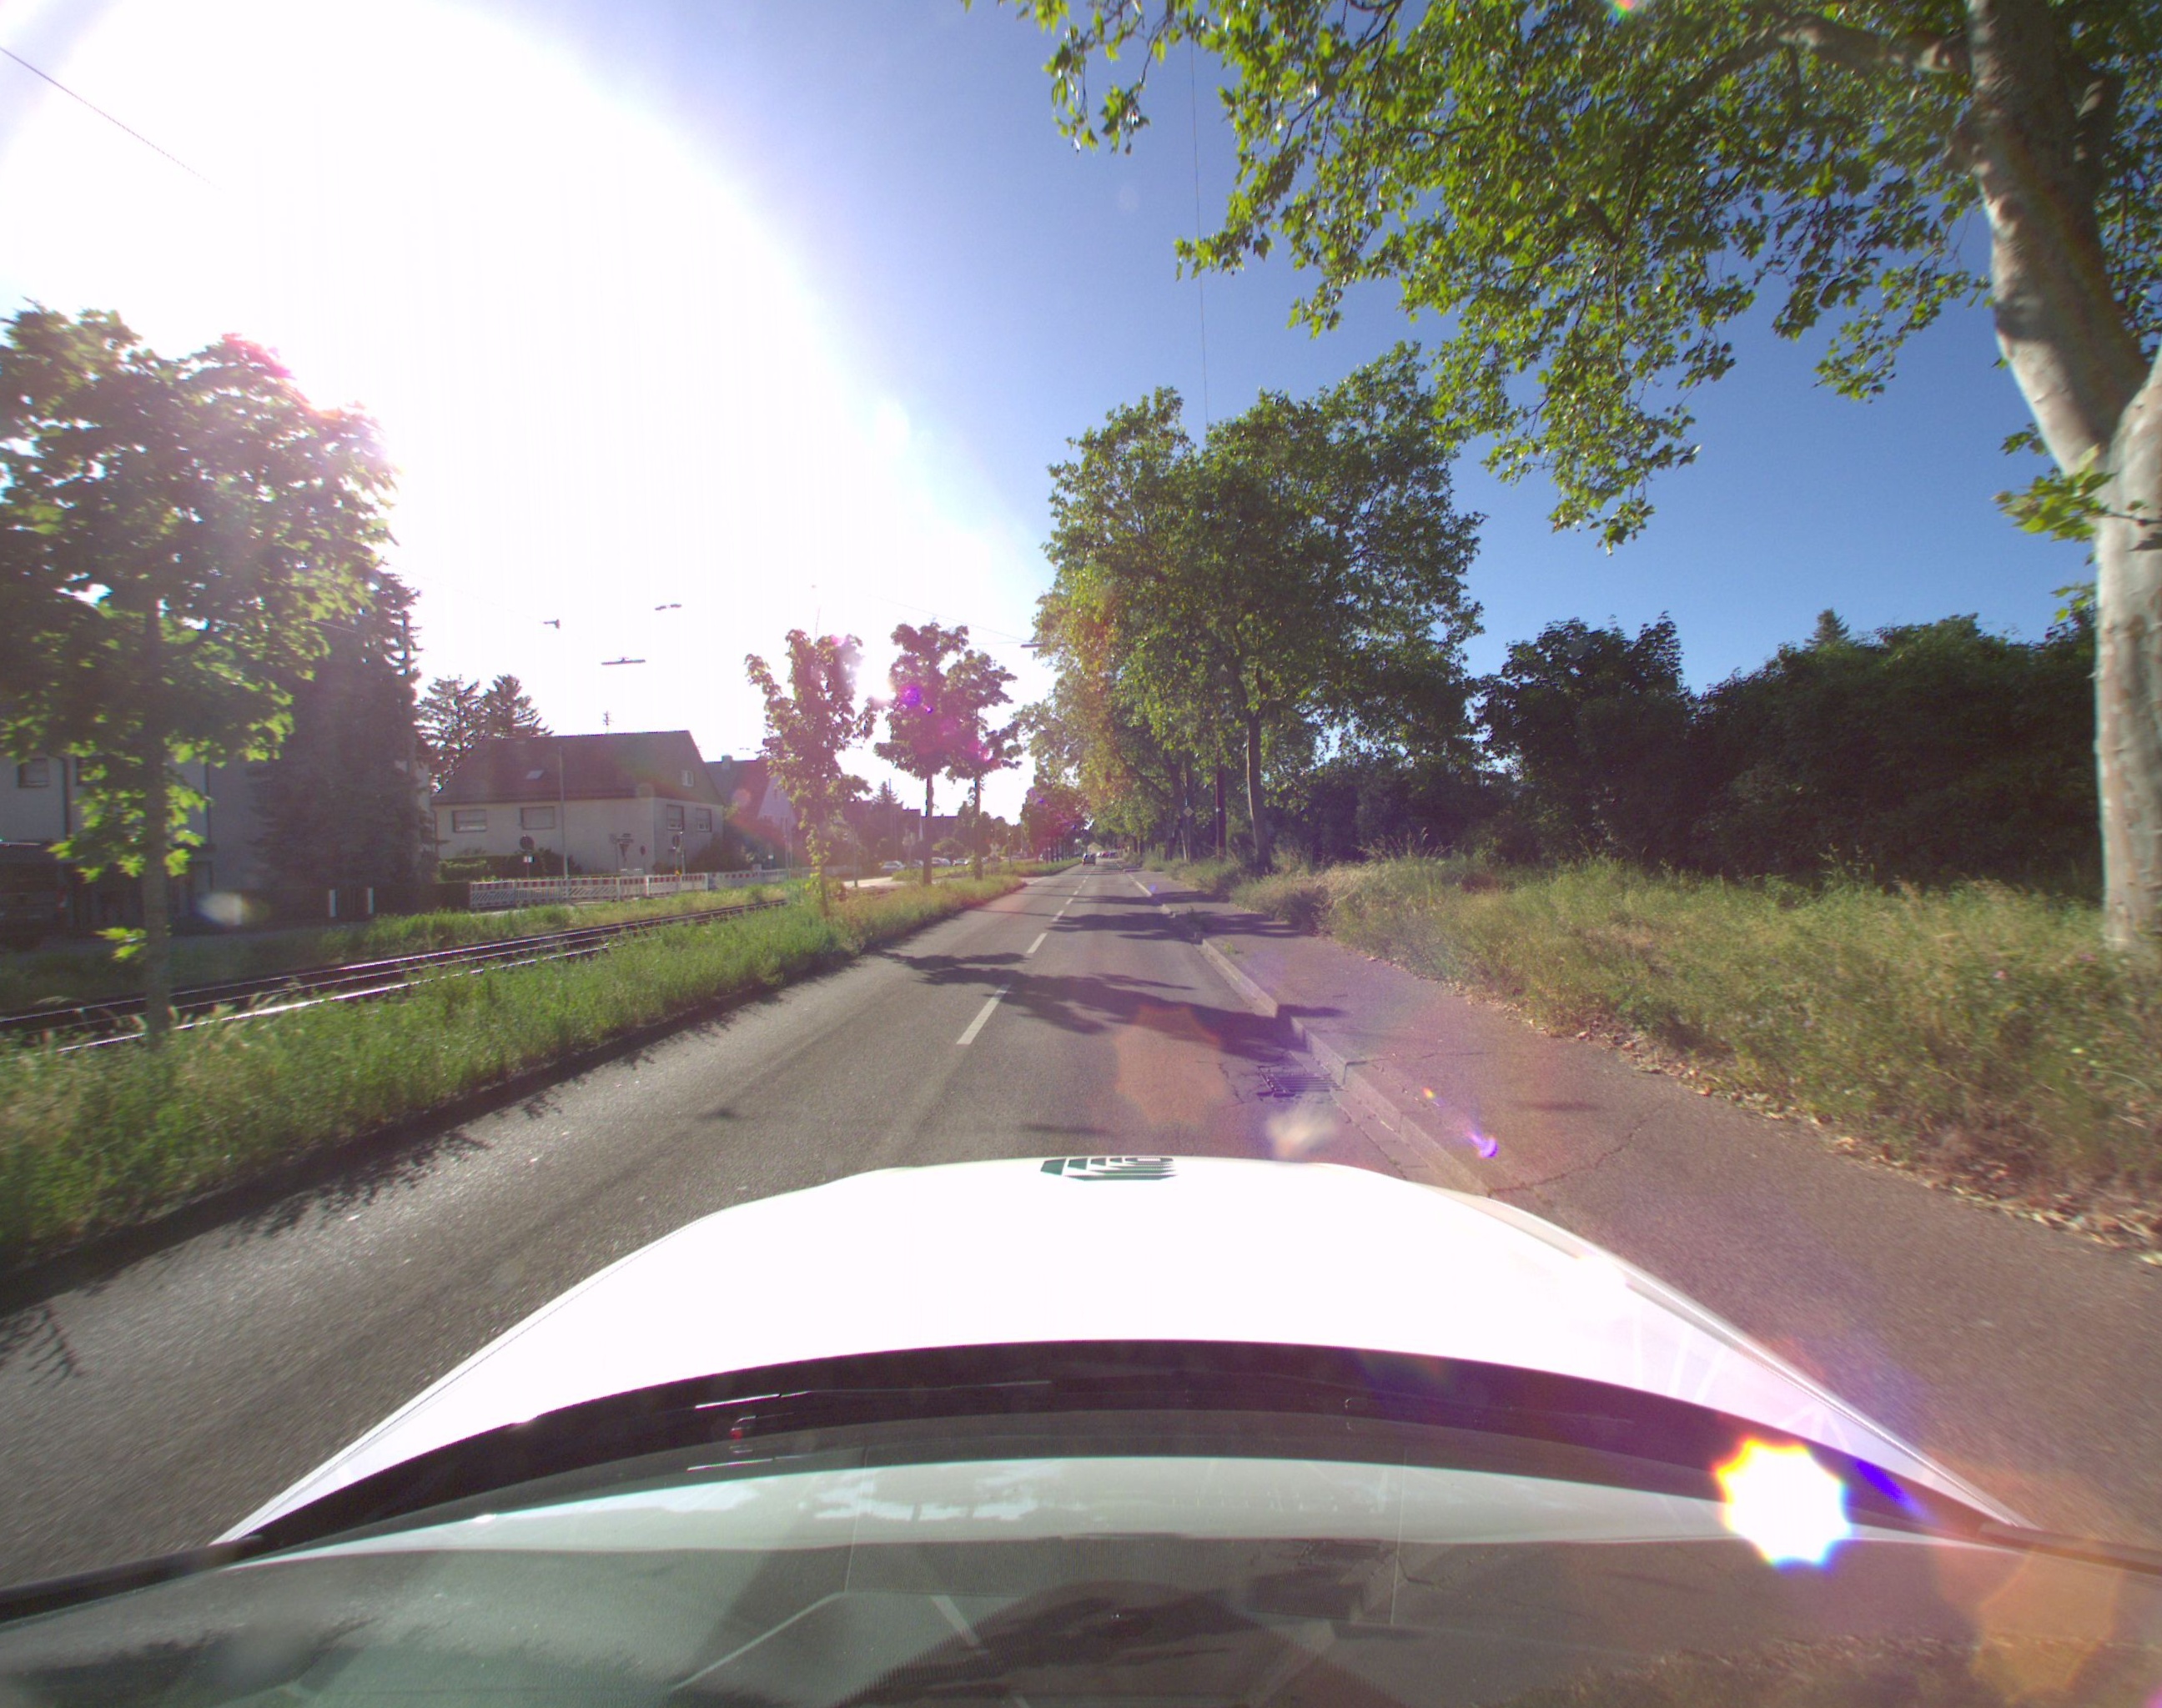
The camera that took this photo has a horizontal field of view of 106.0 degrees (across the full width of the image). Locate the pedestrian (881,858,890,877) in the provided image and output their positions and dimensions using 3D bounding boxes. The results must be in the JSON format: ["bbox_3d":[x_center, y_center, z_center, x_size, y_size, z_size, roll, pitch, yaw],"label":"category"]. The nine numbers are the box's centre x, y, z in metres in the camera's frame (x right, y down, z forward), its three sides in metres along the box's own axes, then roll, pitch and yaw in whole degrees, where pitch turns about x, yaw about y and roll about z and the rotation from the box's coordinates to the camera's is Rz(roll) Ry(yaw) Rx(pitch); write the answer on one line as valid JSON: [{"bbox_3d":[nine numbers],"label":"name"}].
[{"bbox_3d":[-21.037,1.490,87.765,0.678,2.013,0.772,-1,0,1],"label":"pedestrian"}]

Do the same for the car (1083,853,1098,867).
[{"bbox_3d":[1.250,0.740,103.984,1.853,1.601,4.229,-1,0,1],"label":"car"}]

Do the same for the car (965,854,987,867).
[{"bbox_3d":[-13.075,0.803,101.913,1.986,1.603,4.474,-1,0,1],"label":"car"}]

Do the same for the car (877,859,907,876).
[{"bbox_3d":[-18.725,1.318,81.010,1.853,1.542,4.229,-1,0,1],"label":"car"}]

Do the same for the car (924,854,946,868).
[{"bbox_3d":[-18.142,0.848,101.165,1.741,1.650,4.556,-1,0,1],"label":"car"}]

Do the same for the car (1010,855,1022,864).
[{"bbox_3d":[-12.023,0.927,150.231,1.654,1.552,4.812,-1,0,1],"label":"car"}]

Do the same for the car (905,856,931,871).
[{"bbox_3d":[-17.950,1.034,89.888,1.723,1.466,4.604,-1,0,1],"label":"car"}]

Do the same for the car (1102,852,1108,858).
[{"bbox_3d":[6.439,0.210,218.772,1.785,1.559,4.229,-1,0,1],"label":"car"}]

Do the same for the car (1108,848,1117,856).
[{"bbox_3d":[6.864,-0.476,177.576,1.986,1.603,4.474,-1,0,1],"label":"car"}]

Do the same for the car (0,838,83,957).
[{"bbox_3d":[-26.358,1.069,18.365,5.010,2.625,2.103,-2,1,1],"label":"car"}]

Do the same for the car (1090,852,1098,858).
[{"bbox_3d":[3.467,0.200,220.190,1.986,1.603,4.474,-1,0,1],"label":"car"}]

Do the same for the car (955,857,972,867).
[{"bbox_3d":[-17.338,1.133,120.332,1.853,1.369,4.229,-1,0,1],"label":"car"}]
